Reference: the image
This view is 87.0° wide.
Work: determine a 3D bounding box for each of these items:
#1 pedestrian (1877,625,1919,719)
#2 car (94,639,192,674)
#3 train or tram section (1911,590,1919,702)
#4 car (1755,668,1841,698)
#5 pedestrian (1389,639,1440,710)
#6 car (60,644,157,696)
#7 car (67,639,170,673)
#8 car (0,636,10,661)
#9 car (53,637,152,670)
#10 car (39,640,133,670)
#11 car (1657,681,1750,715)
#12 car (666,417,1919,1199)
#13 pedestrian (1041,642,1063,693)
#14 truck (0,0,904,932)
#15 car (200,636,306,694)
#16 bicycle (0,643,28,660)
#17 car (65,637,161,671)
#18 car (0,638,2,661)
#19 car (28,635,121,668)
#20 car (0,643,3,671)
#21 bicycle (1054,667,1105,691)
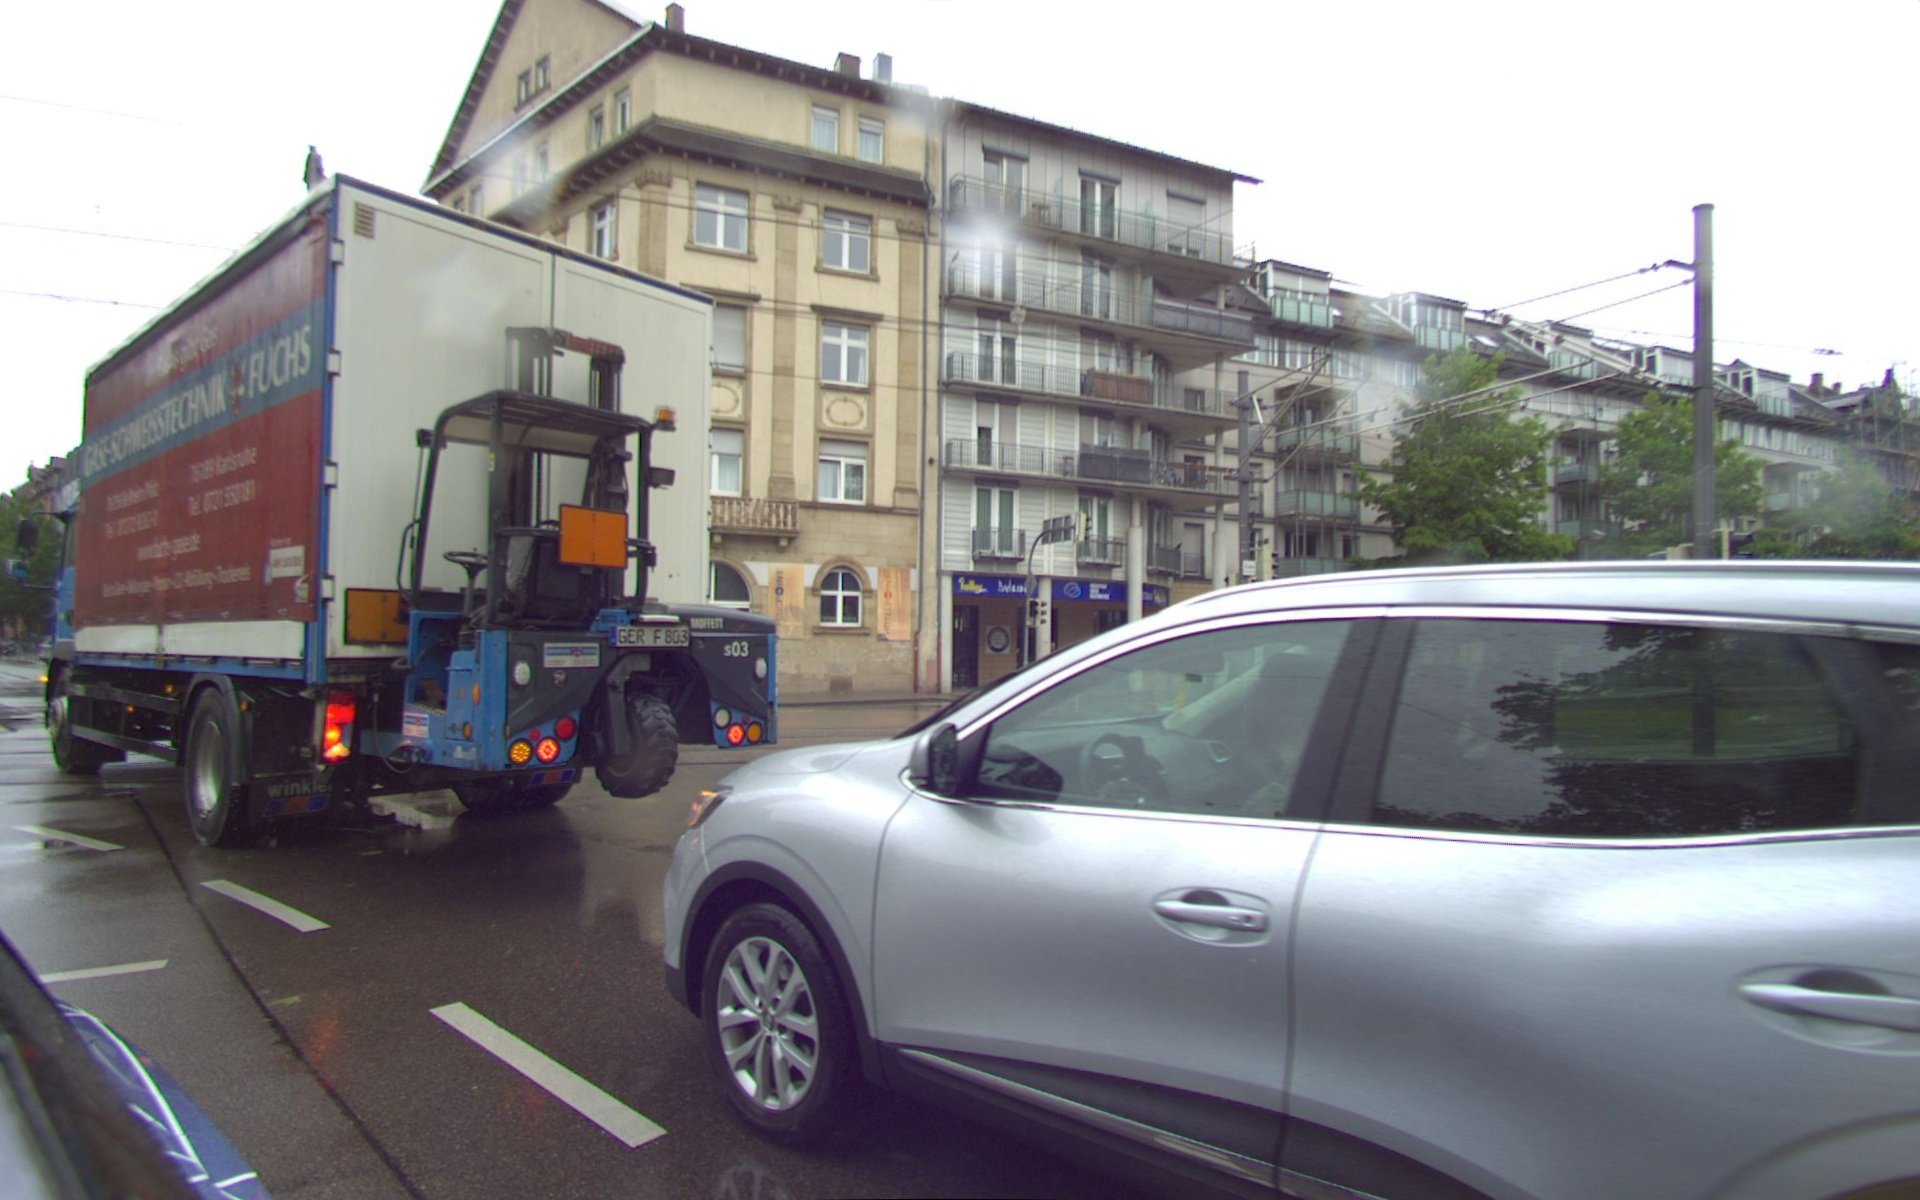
[{"bbox_3d":[17.183,1.289,18.149,0.803,1.661,0.796,3,-4,-25],"label":"pedestrian"},{"bbox_3d":[-38.712,2.646,48.058,1.606,1.556,3.757,-1,-1,1],"label":"car"},{"bbox_3d":[35.859,1.590,32.884,11.376,3.531,3.082,2,-3,-24],"label":"train or tram section"},{"bbox_3d":[42.241,4.153,50.989,3.930,1.431,1.831,2,-3,-26],"label":"car"},{"bbox_3d":[10.924,1.787,24.338,0.743,1.661,0.840,3,-4,-28],"label":"pedestrian"},{"bbox_3d":[-27.862,2.263,33.068,4.338,1.558,1.708,-2,-4,41],"label":"car"},{"bbox_3d":[-41.237,2.717,49.678,1.757,1.556,3.720,-1,-2,6],"label":"car"},{"bbox_3d":[-72.047,3.465,73.486,1.981,1.828,3.980,0,-3,15],"label":"car"},{"bbox_3d":[-45.613,2.823,53.934,1.881,1.539,3.715,1,0,10],"label":"car"},{"bbox_3d":[-47.793,3.025,55.431,1.697,1.539,3.720,1,-3,6],"label":"car"},{"bbox_3d":[34.635,4.529,47.144,3.930,1.431,1.831,2,-3,-26],"label":"car"},{"bbox_3d":[1.140,0.629,2.498,3.999,1.616,1.724,-2,-4,42],"label":"car"},{"bbox_3d":[3.245,2.380,35.735,0.601,1.794,0.501,2,-3,-24],"label":"pedestrian"},{"bbox_3d":[-5.272,-0.473,8.647,10.304,4.056,2.817,-1,-4,39],"label":"truck"},{"bbox_3d":[-25.259,2.270,36.330,1.774,1.518,4.012,-6,4,-15],"label":"car"},{"bbox_3d":[-64.924,3.532,69.223,0.544,1.081,1.667,-2,-1,38],"label":"bicycle"},{"bbox_3d":[-43.533,2.732,52.112,1.755,1.639,3.723,-1,-1,3],"label":"car"},{"bbox_3d":[-75.496,3.684,76.698,1.993,1.728,3.762,-1,-4,31],"label":"car"},{"bbox_3d":[-50.152,2.947,57.418,1.791,1.743,3.922,1,-3,0],"label":"car"},{"bbox_3d":[-54.813,3.152,56.429,3.777,1.558,1.725,-2,-4,42],"label":"car"},{"bbox_3d":[4.529,2.972,38.294,1.894,0.873,0.583,2,-3,-22],"label":"bicycle"}]
